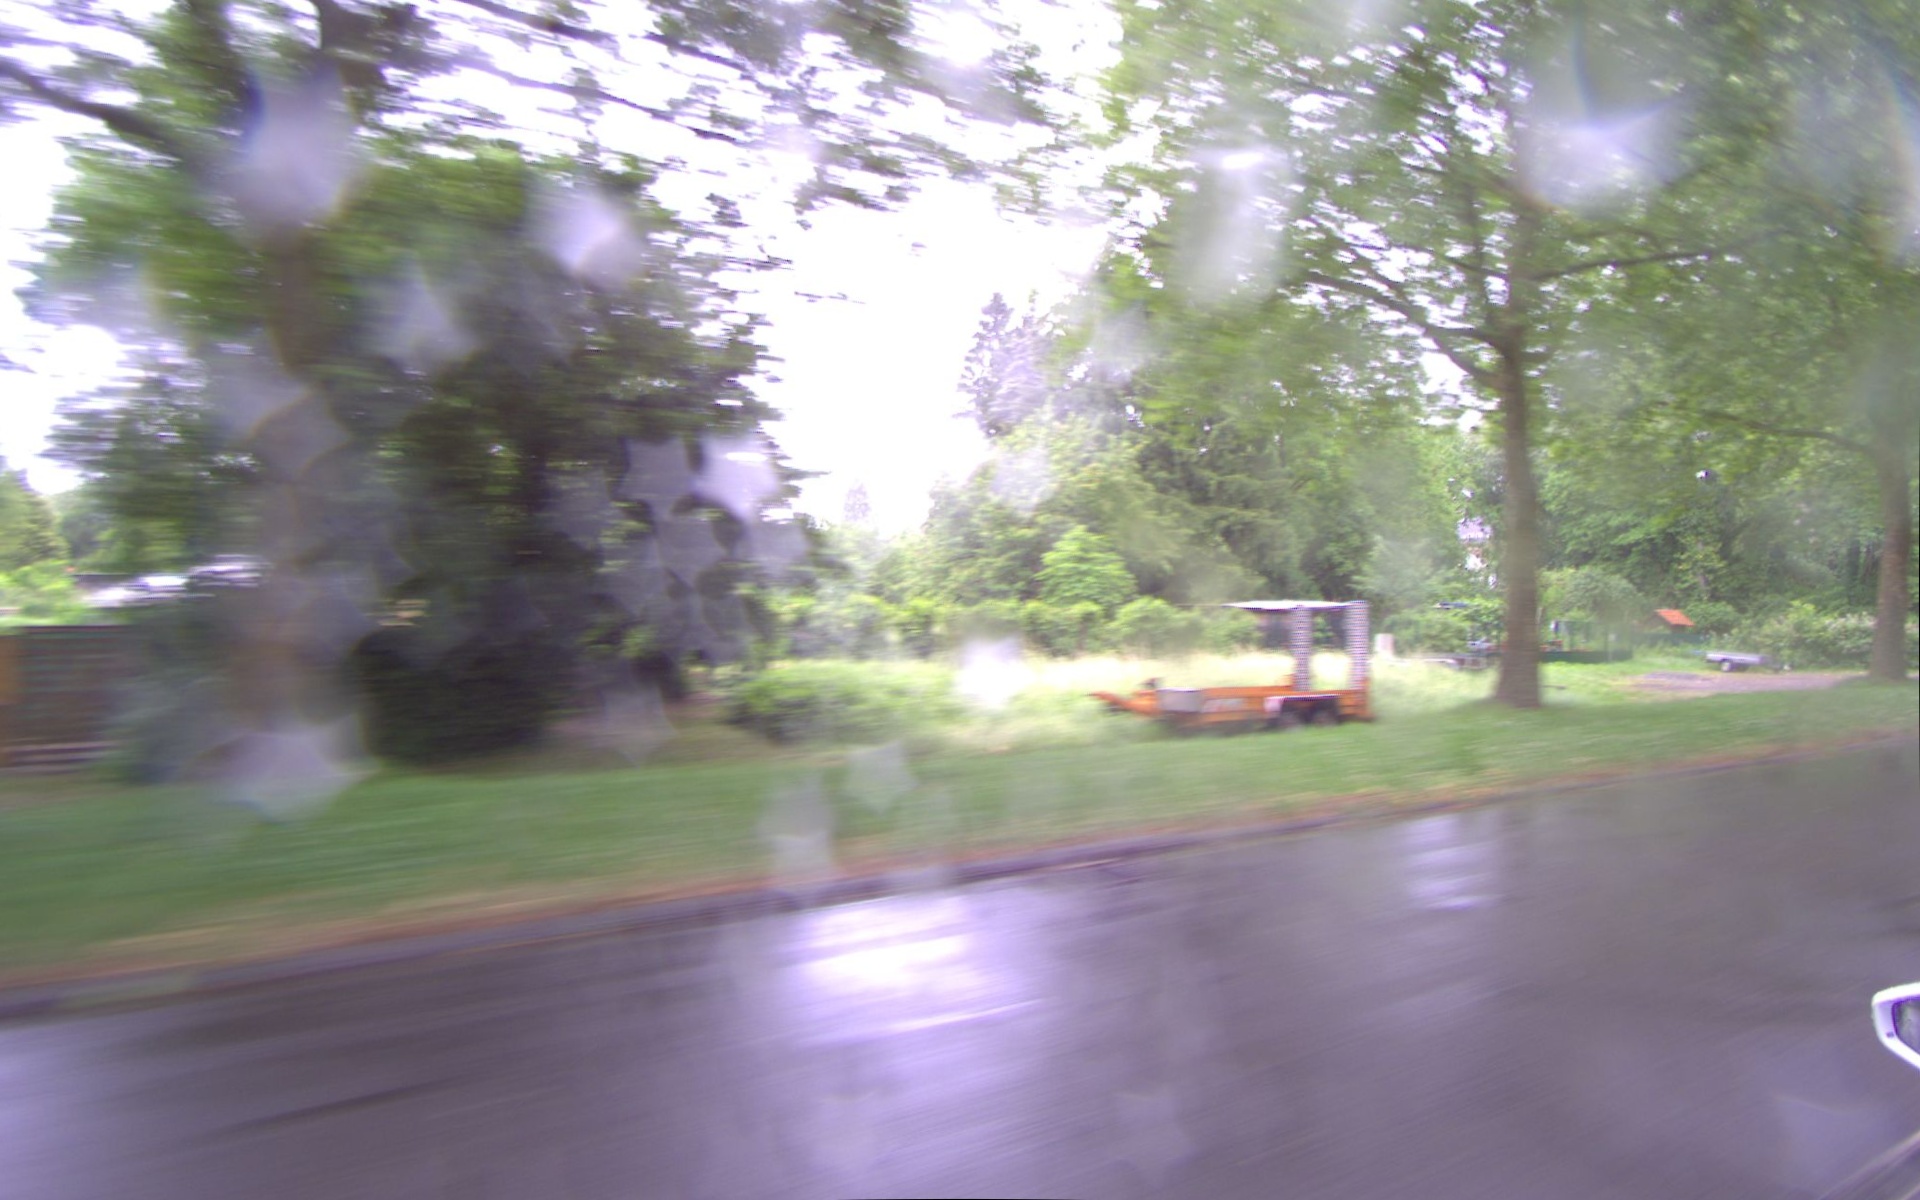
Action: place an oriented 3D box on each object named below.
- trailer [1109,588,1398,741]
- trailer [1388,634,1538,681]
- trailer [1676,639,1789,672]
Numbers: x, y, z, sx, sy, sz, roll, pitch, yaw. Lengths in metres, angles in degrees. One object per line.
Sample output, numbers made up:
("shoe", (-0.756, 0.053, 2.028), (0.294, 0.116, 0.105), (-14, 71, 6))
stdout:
("trailer", (5.796, 1.157, 19.713), (5.270, 2.602, 2.473), (1, 1, -30))
("trailer", (17.277, 1.926, 34.646), (1.981, 1.394, 4.202), (1, 0, -37))
("trailer", (33.387, 2.366, 43.474), (1.806, 1.194, 3.527), (1, 0, -37))
